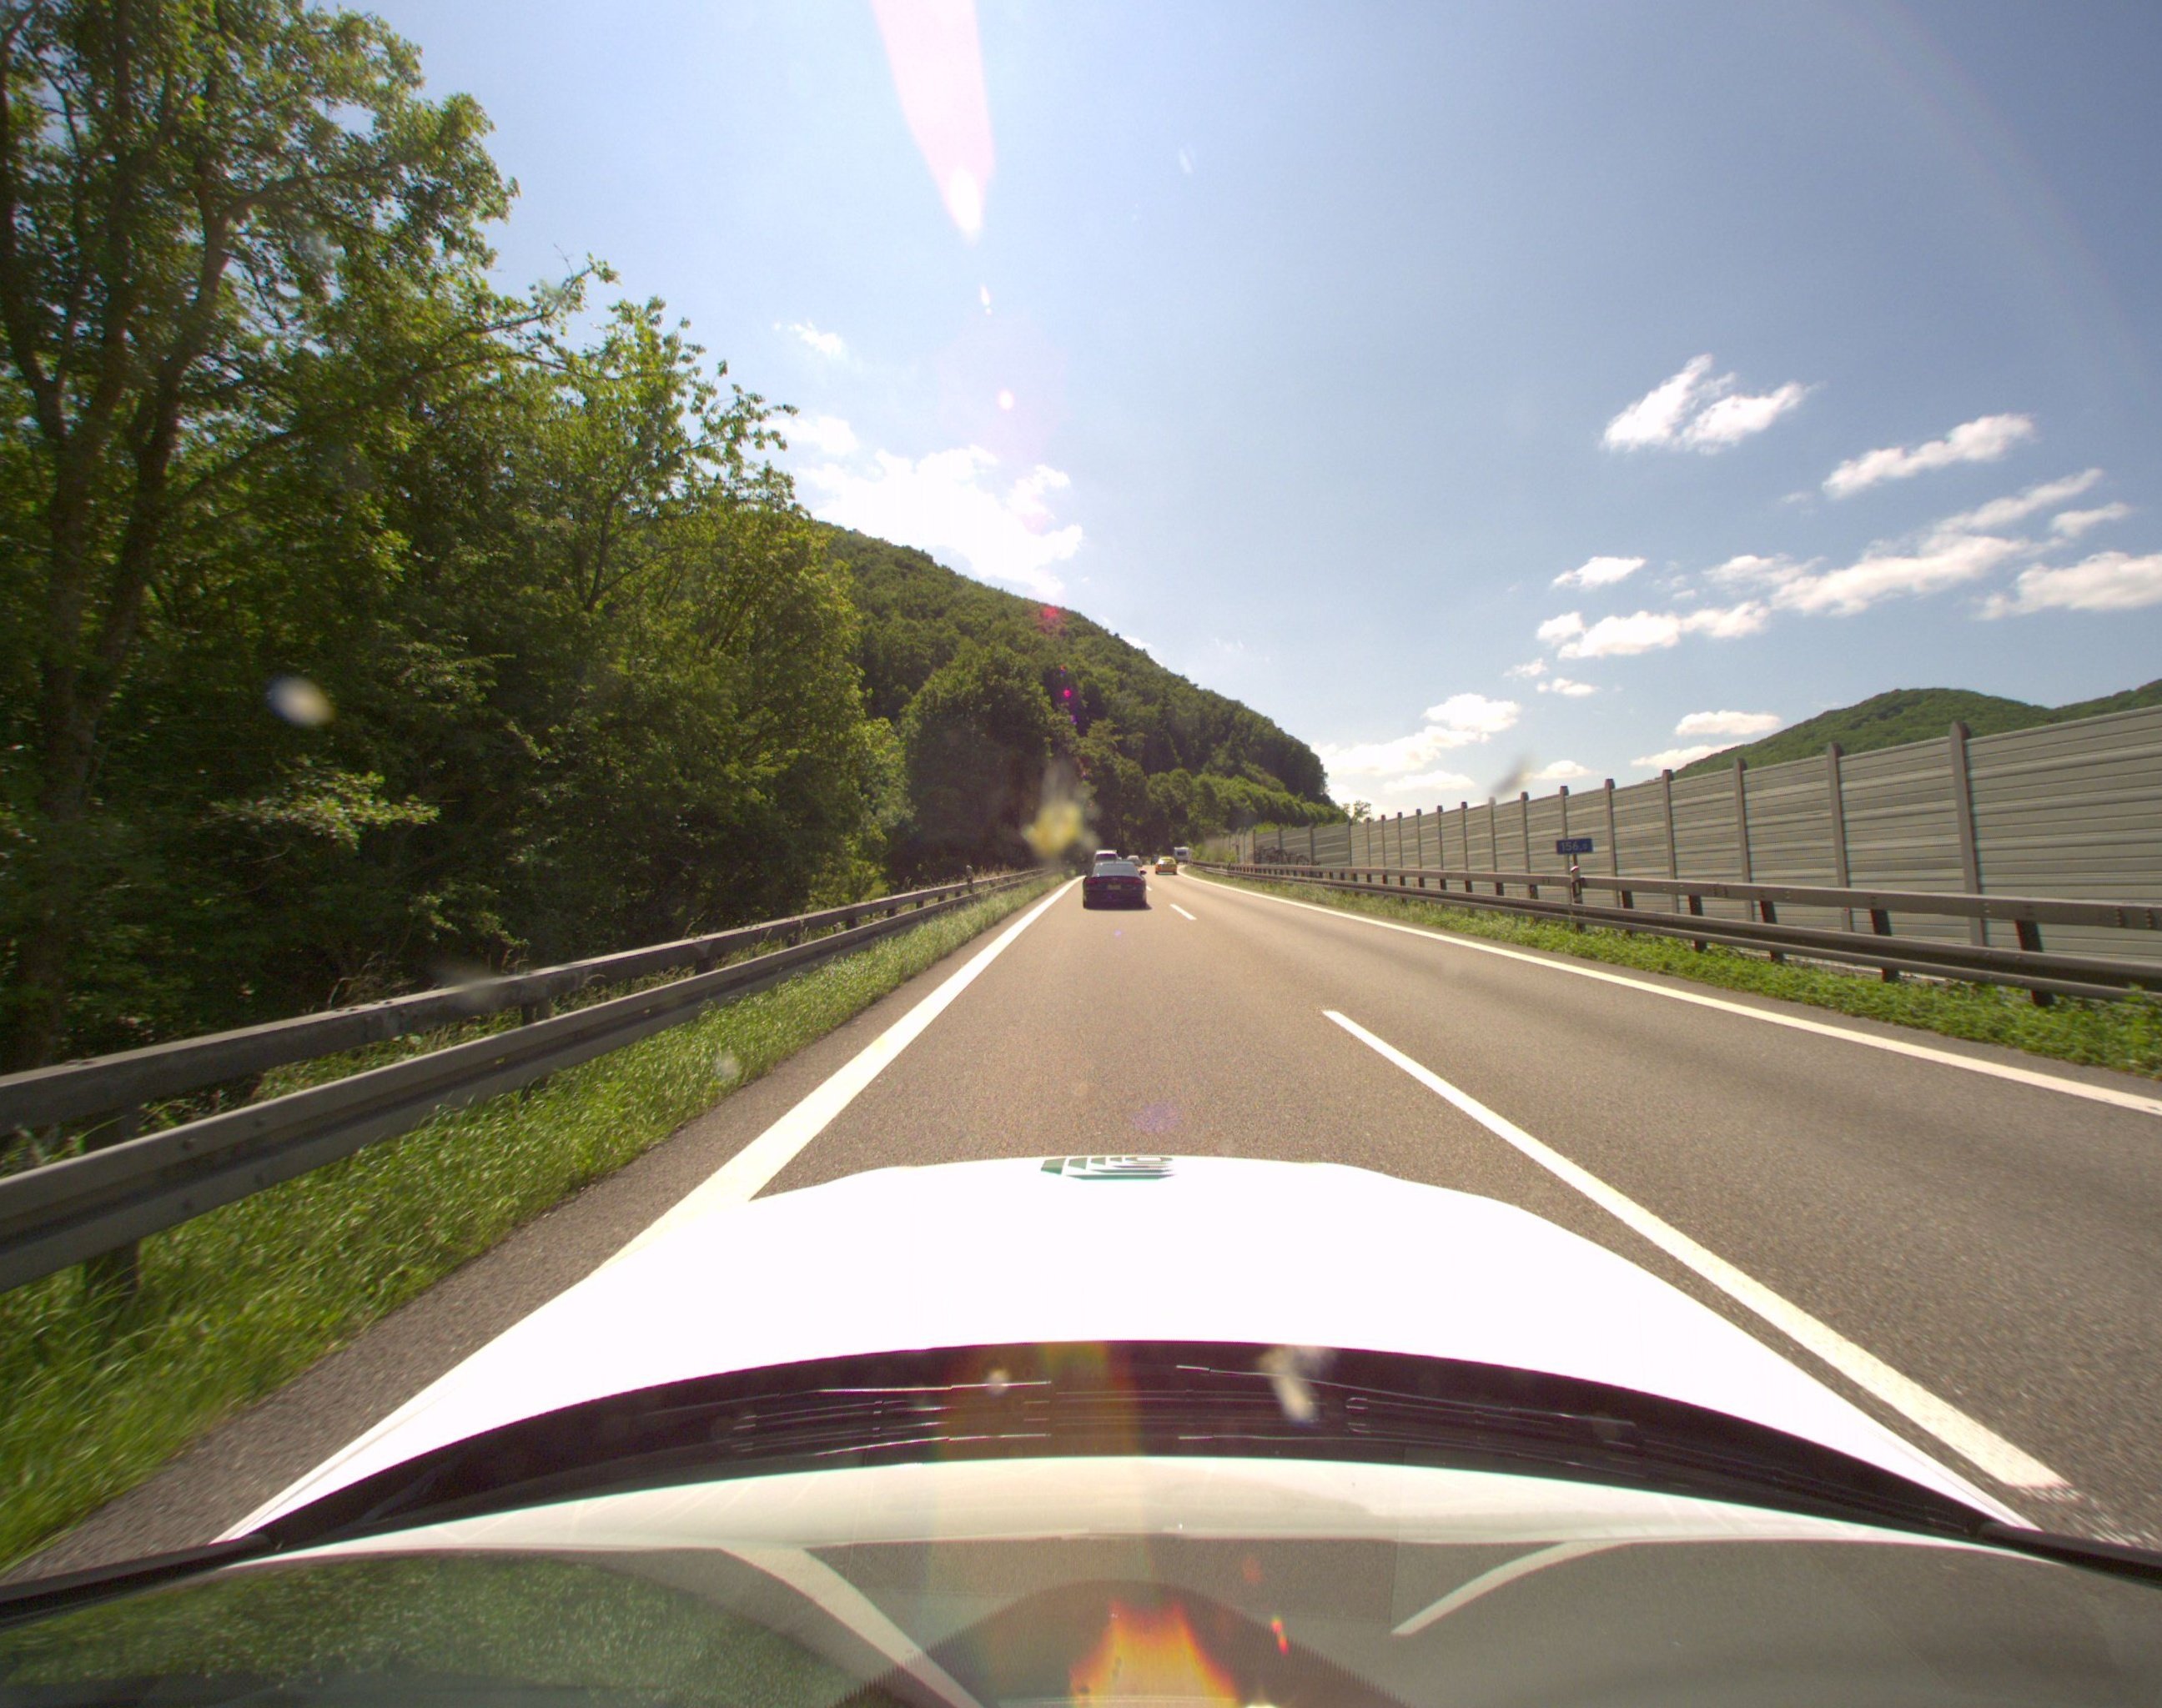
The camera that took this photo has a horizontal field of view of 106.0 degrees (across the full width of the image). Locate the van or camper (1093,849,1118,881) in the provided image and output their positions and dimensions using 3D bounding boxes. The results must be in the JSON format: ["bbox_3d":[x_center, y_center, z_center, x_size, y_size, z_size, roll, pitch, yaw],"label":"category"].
[{"bbox_3d":[1.465,0.645,49.158,1.386,1.816,4.001,-1,-1,2],"label":"van or camper"}]

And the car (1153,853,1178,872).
[{"bbox_3d":[7.262,0.737,70.432,1.855,1.488,4.002,-1,-1,2],"label":"car"}]

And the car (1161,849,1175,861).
[{"bbox_3d":[11.777,0.173,110.393,1.765,1.637,4.004,0,-1,4],"label":"car"}]

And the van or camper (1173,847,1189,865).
[{"bbox_3d":[16.219,0.327,132.048,2.443,2.918,6.135,-1,-1,6],"label":"van or camper"}]

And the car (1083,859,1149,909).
[{"bbox_3d":[1.039,0.876,25.082,1.831,1.349,4.001,-2,-1,1],"label":"car"}]

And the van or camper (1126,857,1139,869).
[{"bbox_3d":[6.809,1.159,107.209,1.552,1.534,3.506,-1,-1,2],"label":"van or camper"}]

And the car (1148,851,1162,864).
[{"bbox_3d":[11.965,0.620,131.810,1.982,2.014,4.010,-1,-1,9],"label":"car"}]
